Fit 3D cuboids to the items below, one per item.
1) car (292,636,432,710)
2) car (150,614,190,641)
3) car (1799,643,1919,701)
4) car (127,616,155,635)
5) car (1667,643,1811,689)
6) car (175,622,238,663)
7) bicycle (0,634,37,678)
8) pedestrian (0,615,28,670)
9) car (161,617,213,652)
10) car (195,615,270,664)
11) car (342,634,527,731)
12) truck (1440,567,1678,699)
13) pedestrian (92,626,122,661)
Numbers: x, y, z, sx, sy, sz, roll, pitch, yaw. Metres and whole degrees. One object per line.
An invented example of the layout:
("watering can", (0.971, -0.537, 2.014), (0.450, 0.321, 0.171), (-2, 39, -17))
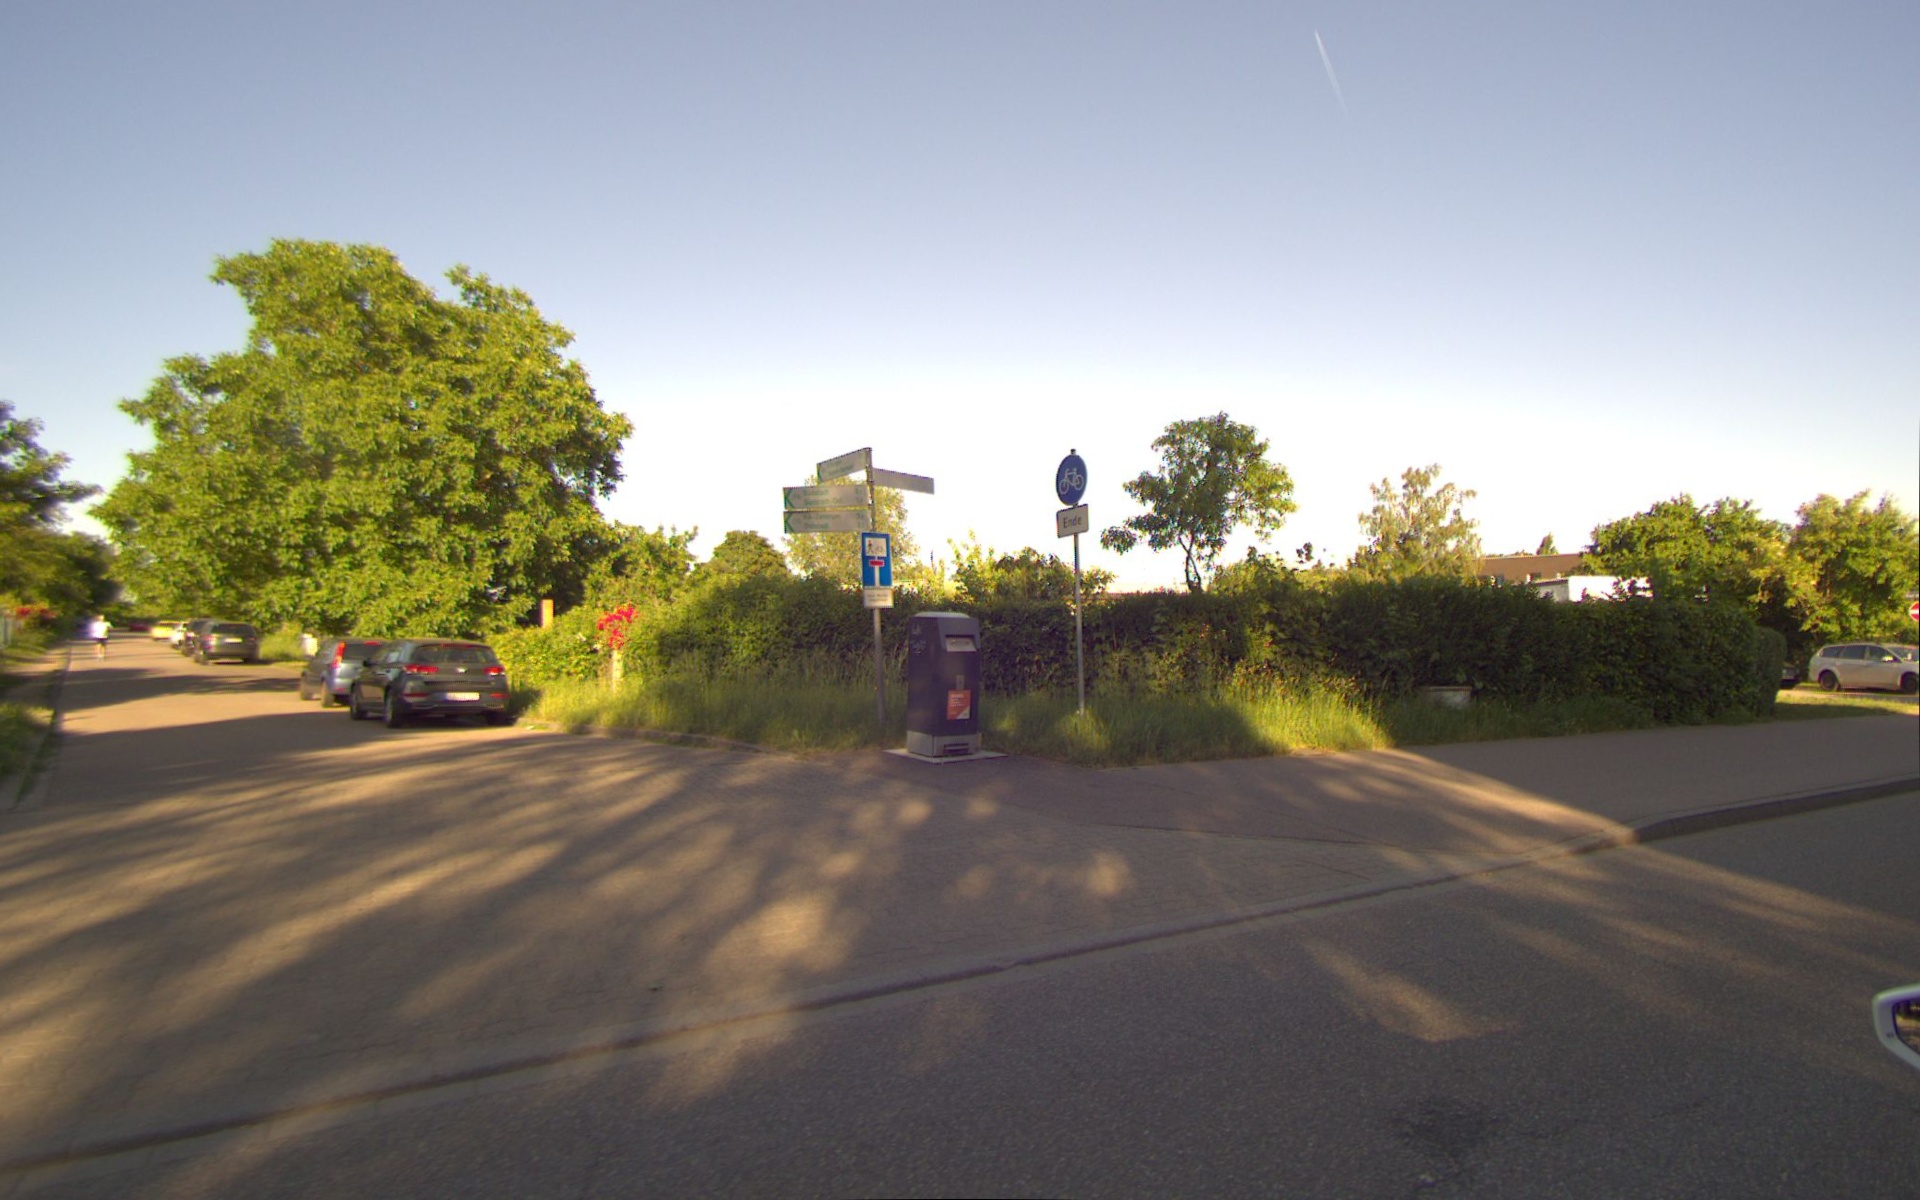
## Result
("car", (-13.342, 1.588, 22.310), (1.875, 1.466, 3.987), (5, -5, -42))
("car", (-55.875, 1.941, 70.992), (1.875, 1.768, 3.987), (5, -4, -42))
("car", (27.543, 2.117, 29.665), (1.840, 1.510, 4.222), (2, -1, -3))
("car", (-83.410, 2.635, 102.285), (1.875, 1.768, 3.987), (5, -4, -42))
("car", (27.038, 2.311, 35.063), (1.612, 1.454, 4.206), (2, -4, -3))
("car", (-34.856, 1.951, 46.428), (1.875, 1.768, 3.987), (5, -4, -42))
("bicycle", (-29.611, 1.688, 30.597), (2.855, 1.211, 1.246), (1, -1, 27))
("pedestrian", (-29.489, 1.279, 30.544), (1.439, 1.594, 1.238), (1, -1, 27))
("car", (-41.937, 1.875, 54.471), (1.875, 1.768, 3.987), (5, -4, -42))
("car", (-28.345, 1.545, 39.084), (1.875, 1.768, 3.987), (5, -4, -42))
("car", (-9.223, 1.369, 17.495), (1.875, 1.466, 3.987), (5, -5, -42))
("truck", (20.477, 1.197, 35.243), (2.658, 3.934, 9.337), (2, -2, -1))
("pedestrian", (-35.118, 1.807, 41.367), (0.807, 1.422, 1.010), (4, -5, -38))
